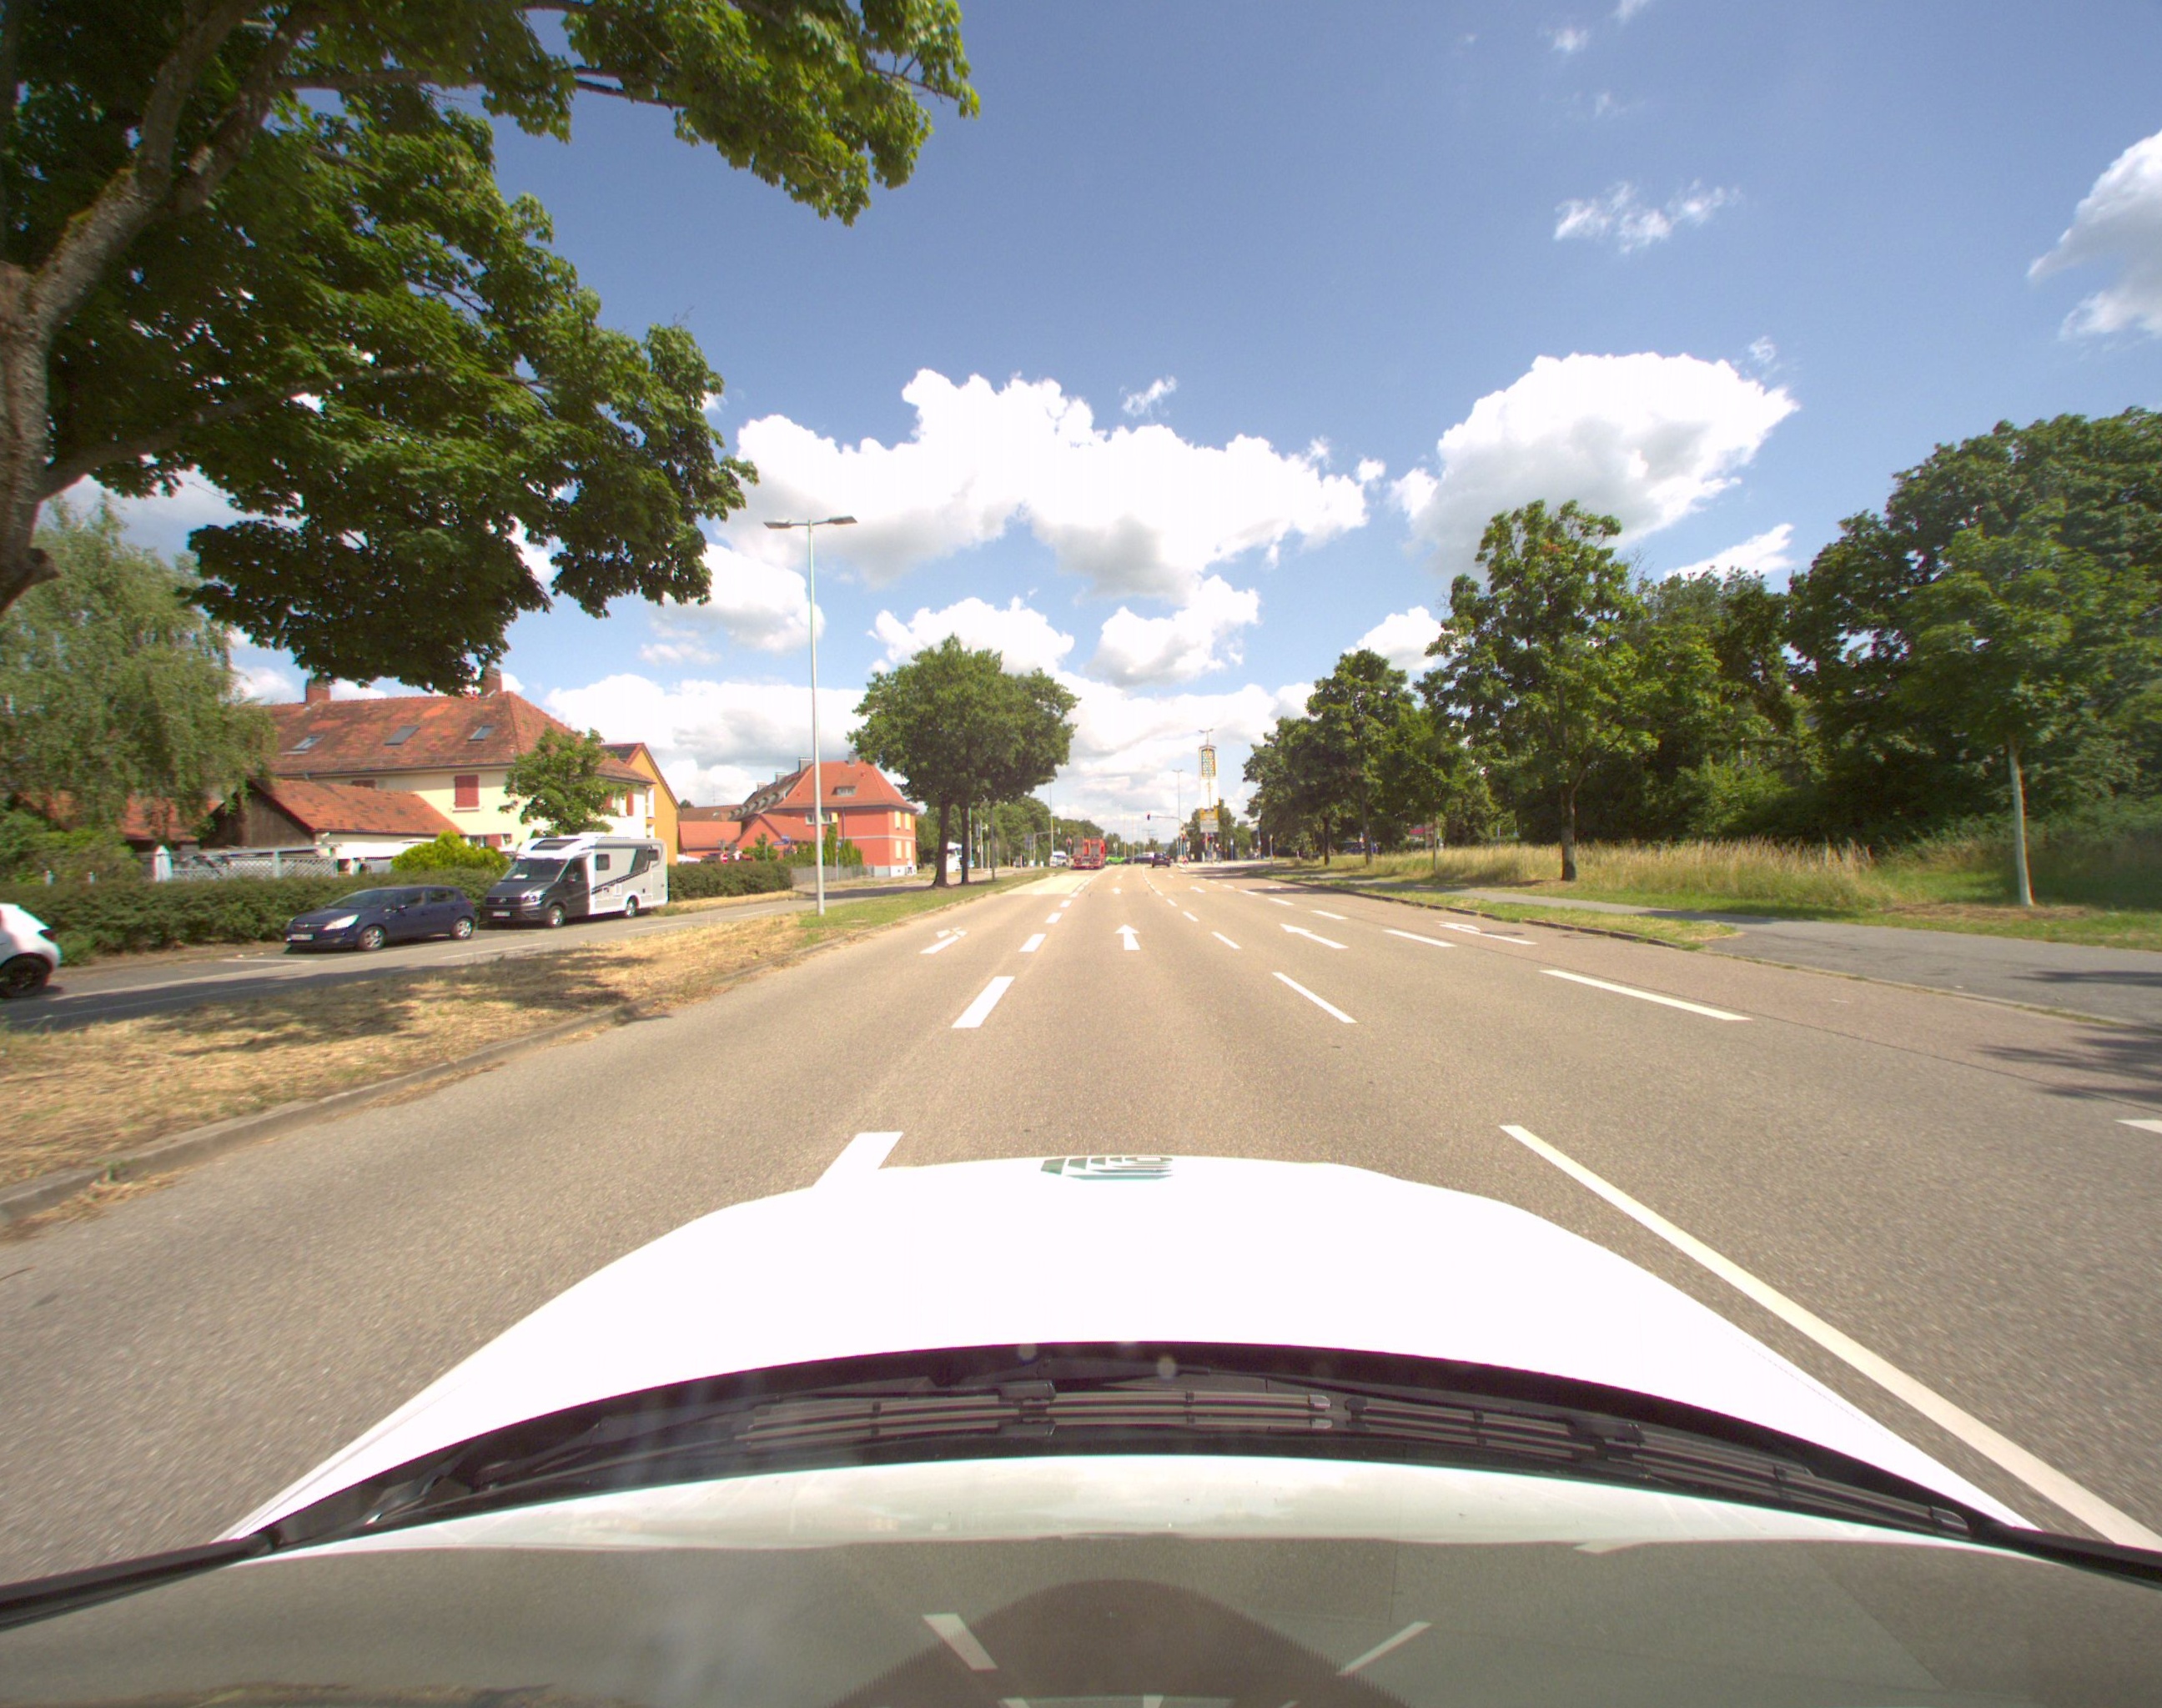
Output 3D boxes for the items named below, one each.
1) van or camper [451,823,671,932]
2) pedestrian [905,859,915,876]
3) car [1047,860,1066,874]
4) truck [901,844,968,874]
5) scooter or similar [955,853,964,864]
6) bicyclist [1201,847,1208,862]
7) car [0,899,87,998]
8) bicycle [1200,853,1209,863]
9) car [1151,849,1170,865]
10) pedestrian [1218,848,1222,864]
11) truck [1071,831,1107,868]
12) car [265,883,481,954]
[{"bbox_3d":[-16.828,0.653,27.122,2.249,3.112,7.327,0,0,3],"label":"van or camper"},{"bbox_3d":[-15.880,1.251,75.779,0.693,1.583,0.852,0,-1,3],"label":"pedestrian"},{"bbox_3d":[-2.980,1.574,98.748,1.725,1.508,4.656,-5,-1,3],"label":"car"},{"bbox_3d":[-19.989,0.648,111.154,8.541,3.971,2.982,0,-1,18],"label":"truck"},{"bbox_3d":[-14.014,0.526,93.980,0.587,1.164,1.763,0,-1,3],"label":"scooter or similar"},{"bbox_3d":[14.197,0.052,93.662,0.643,1.661,0.653,0,-1,19],"label":"bicyclist"},{"bbox_3d":[-17.567,1.465,11.559,1.681,1.485,4.127,0,-1,3],"label":"car"},{"bbox_3d":[14.259,0.466,93.840,0.643,1.108,1.937,0,-1,19],"label":"bicycle"},{"bbox_3d":[7.985,0.341,81.884,1.792,1.552,4.003,0,-1,3],"label":"car"},{"bbox_3d":[15.773,0.206,92.433,0.461,1.779,0.484,0,-1,14],"label":"pedestrian"},{"bbox_3d":[0.934,-0.338,81.525,3.057,3.414,11.077,0,-1,3],"label":"truck"},{"bbox_3d":[-17.079,1.488,19.950,1.629,1.485,3.996,0,-1,3],"label":"car"}]
